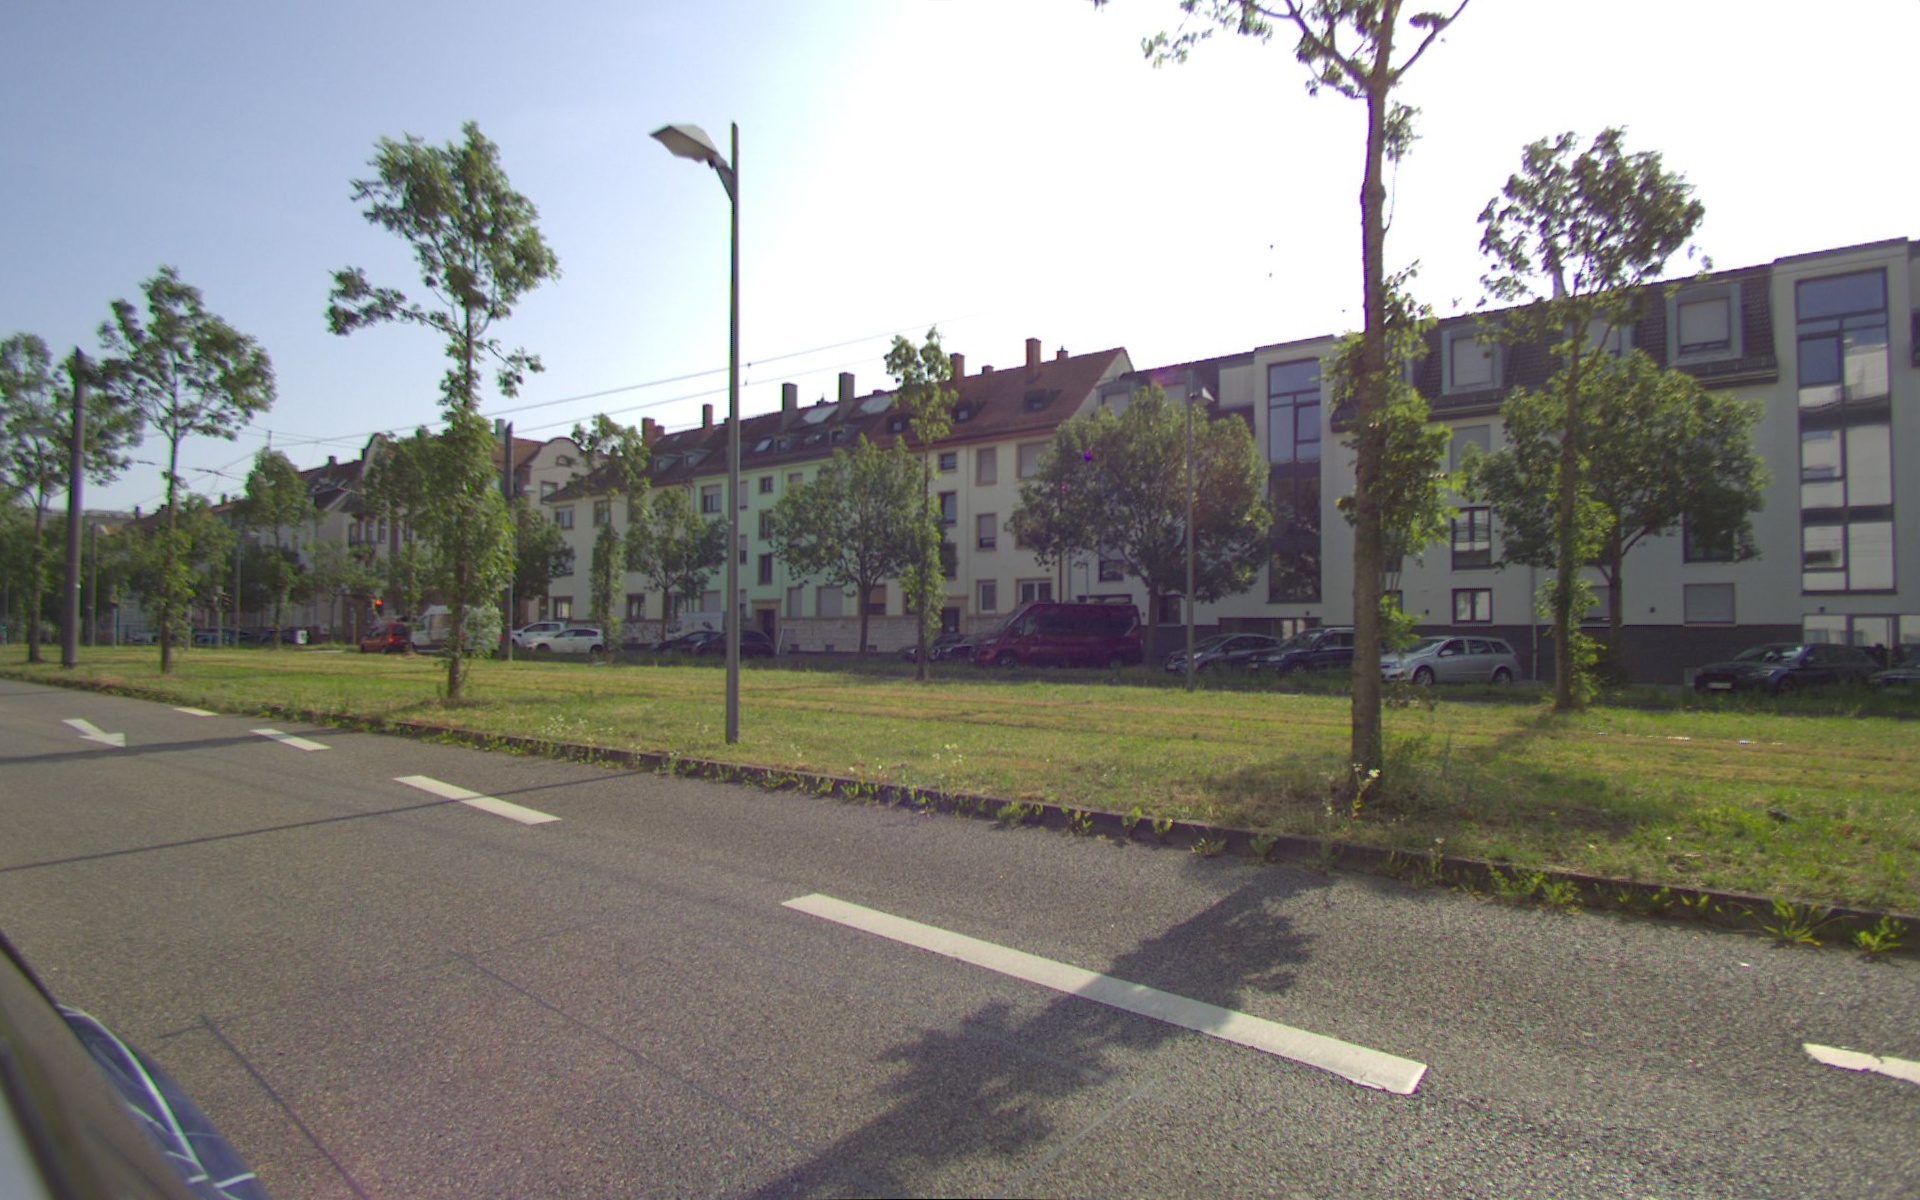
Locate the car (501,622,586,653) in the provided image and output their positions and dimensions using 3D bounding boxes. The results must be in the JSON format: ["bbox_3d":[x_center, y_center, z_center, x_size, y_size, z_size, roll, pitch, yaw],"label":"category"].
[{"bbox_3d":[-22.187,1.994,54.100,4.029,1.541,1.818,-1,-1,-16],"label":"car"}]

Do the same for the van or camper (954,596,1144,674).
[{"bbox_3d":[3.056,1.187,35.060,6.057,2.566,2.421,0,-2,-17],"label":"van or camper"}]

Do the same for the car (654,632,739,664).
[{"bbox_3d":[-12.096,2.191,46.487,3.713,1.353,1.778,-1,-1,-16],"label":"car"}]

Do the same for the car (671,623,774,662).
[{"bbox_3d":[-10.419,1.835,44.400,4.277,1.541,2.005,-1,-1,-14],"label":"car"}]

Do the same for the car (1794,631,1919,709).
[{"bbox_3d":[19.572,1.392,21.088,3.931,1.386,1.933,0,-1,-26],"label":"car"}]

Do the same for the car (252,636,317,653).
[{"bbox_3d":[-50.693,3.307,75.994,3.783,1.136,1.775,0,-1,-22],"label":"car"}]

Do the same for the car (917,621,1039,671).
[{"bbox_3d":[0.642,1.631,36.891,4.083,1.628,1.874,0,1,-15],"label":"car"}]

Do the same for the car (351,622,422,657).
[{"bbox_3d":[-30.238,2.057,53.313,4.155,1.751,1.798,-1,-4,38],"label":"car"}]

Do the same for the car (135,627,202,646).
[{"bbox_3d":[-71.505,3.285,91.532,4.423,1.617,2.007,0,-1,-25],"label":"car"}]

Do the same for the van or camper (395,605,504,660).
[{"bbox_3d":[-24.758,1.578,48.975,6.048,2.493,2.122,-1,-4,37],"label":"van or camper"}]

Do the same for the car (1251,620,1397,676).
[{"bbox_3d":[10.294,1.329,28.621,3.657,1.445,1.647,0,-1,-20],"label":"car"}]

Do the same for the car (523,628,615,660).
[{"bbox_3d":[-20.157,2.264,52.323,4.292,1.486,1.863,-1,-1,-16],"label":"car"}]

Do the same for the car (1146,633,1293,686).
[{"bbox_3d":[7.836,1.759,30.643,3.931,1.431,1.787,-1,-1,-18],"label":"car"}]

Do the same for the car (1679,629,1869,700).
[{"bbox_3d":[18.483,1.415,22.975,3.931,1.386,1.842,0,-1,-26],"label":"car"}]

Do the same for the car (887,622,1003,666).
[{"bbox_3d":[-0.604,1.661,38.804,4.083,1.520,1.874,0,1,-15],"label":"car"}]

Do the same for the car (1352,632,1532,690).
[{"bbox_3d":[12.746,1.565,26.779,4.323,1.330,1.739,0,-1,-20],"label":"car"}]

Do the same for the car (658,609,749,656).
[{"bbox_3d":[-14.451,1.796,56.790,5.570,2.482,1.974,-1,-1,38],"label":"car"}]

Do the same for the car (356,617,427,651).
[{"bbox_3d":[-44.743,2.650,79.591,6.493,2.583,2.328,-1,-1,35],"label":"car"}]

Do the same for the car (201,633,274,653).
[{"bbox_3d":[-58.321,3.451,81.820,4.437,1.451,2.007,0,-1,-22],"label":"car"}]
